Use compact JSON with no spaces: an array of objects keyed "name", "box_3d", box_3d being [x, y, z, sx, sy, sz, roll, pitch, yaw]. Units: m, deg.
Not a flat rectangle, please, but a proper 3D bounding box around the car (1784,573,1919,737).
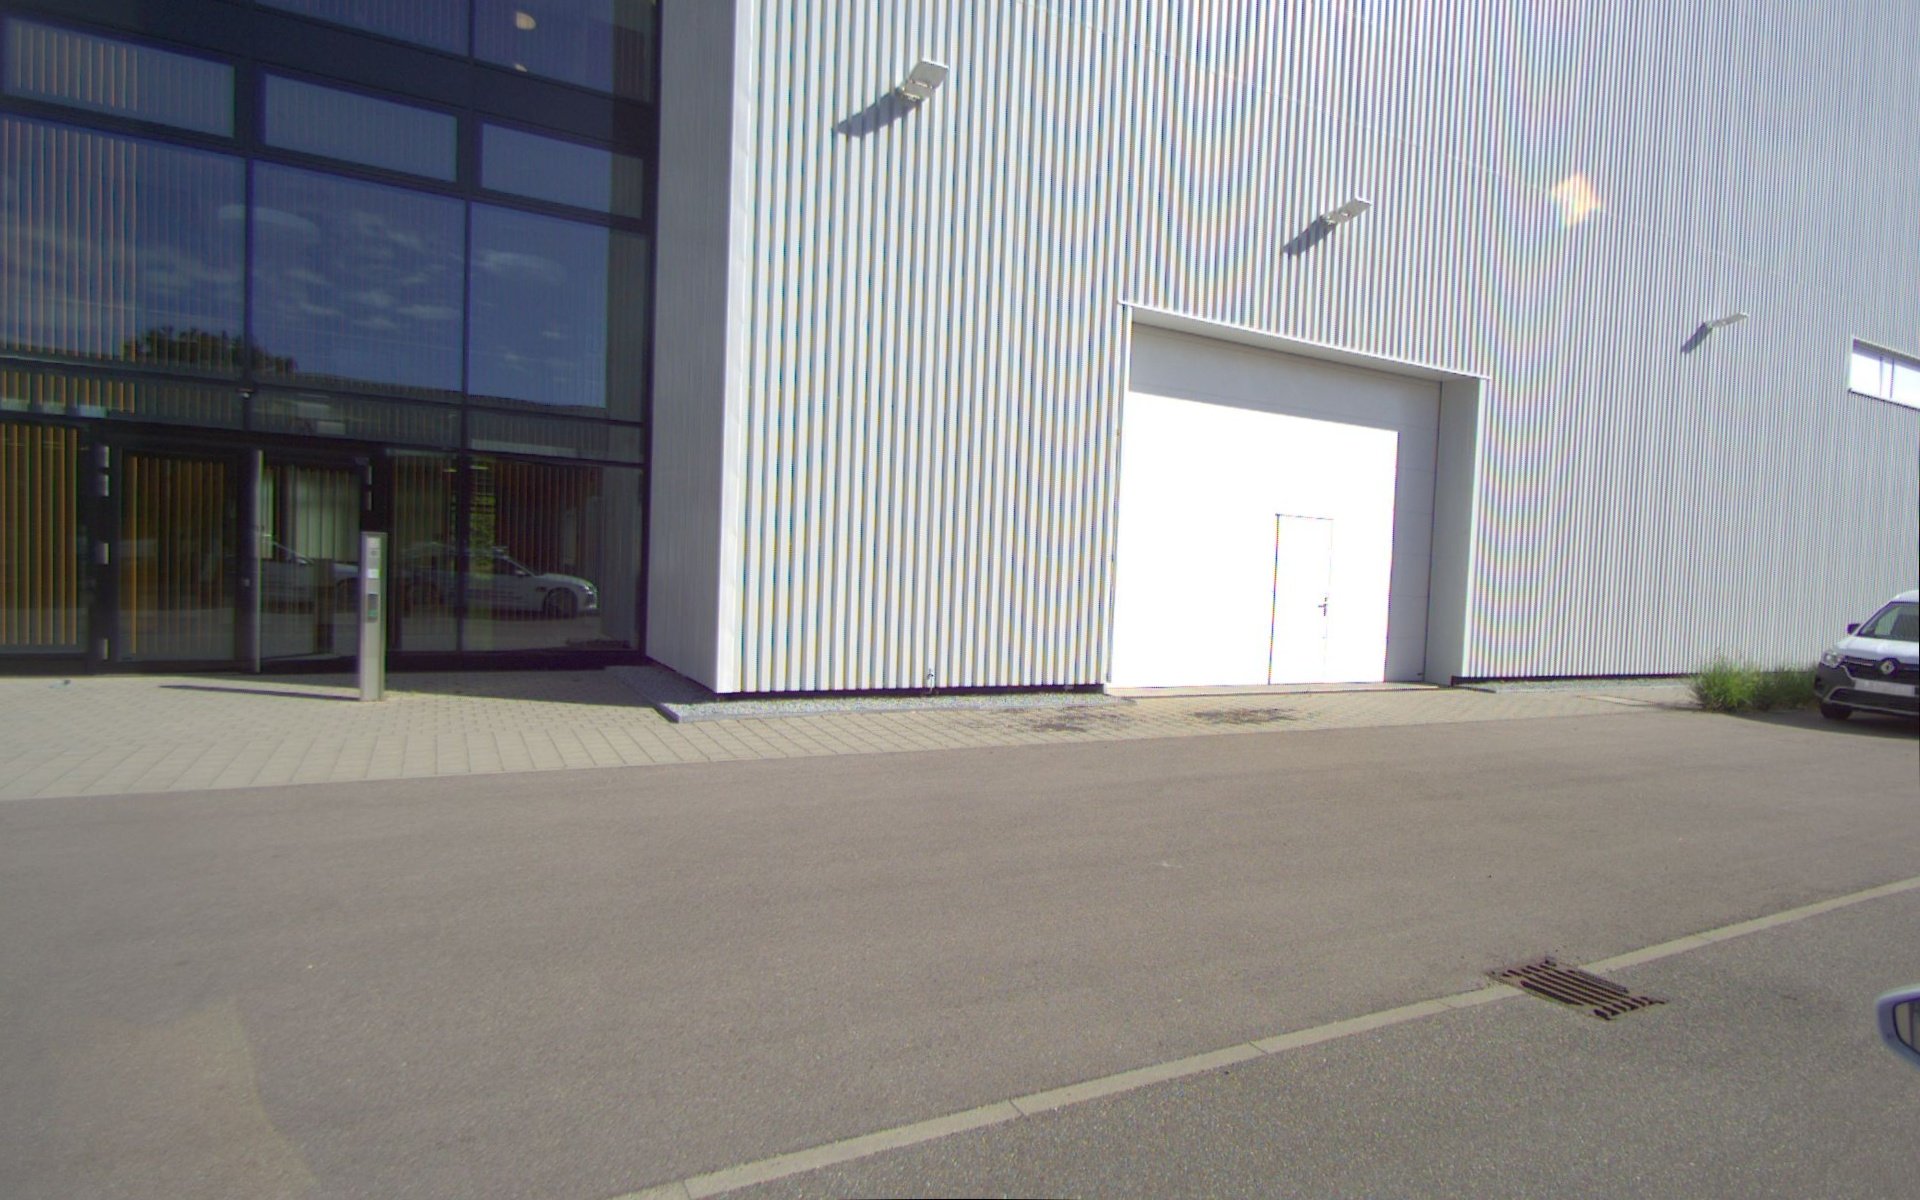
[{"name":"car","box_3d":[13.067,0.701,13.204,4.305,1.870,1.882,1,4,-29]}]
